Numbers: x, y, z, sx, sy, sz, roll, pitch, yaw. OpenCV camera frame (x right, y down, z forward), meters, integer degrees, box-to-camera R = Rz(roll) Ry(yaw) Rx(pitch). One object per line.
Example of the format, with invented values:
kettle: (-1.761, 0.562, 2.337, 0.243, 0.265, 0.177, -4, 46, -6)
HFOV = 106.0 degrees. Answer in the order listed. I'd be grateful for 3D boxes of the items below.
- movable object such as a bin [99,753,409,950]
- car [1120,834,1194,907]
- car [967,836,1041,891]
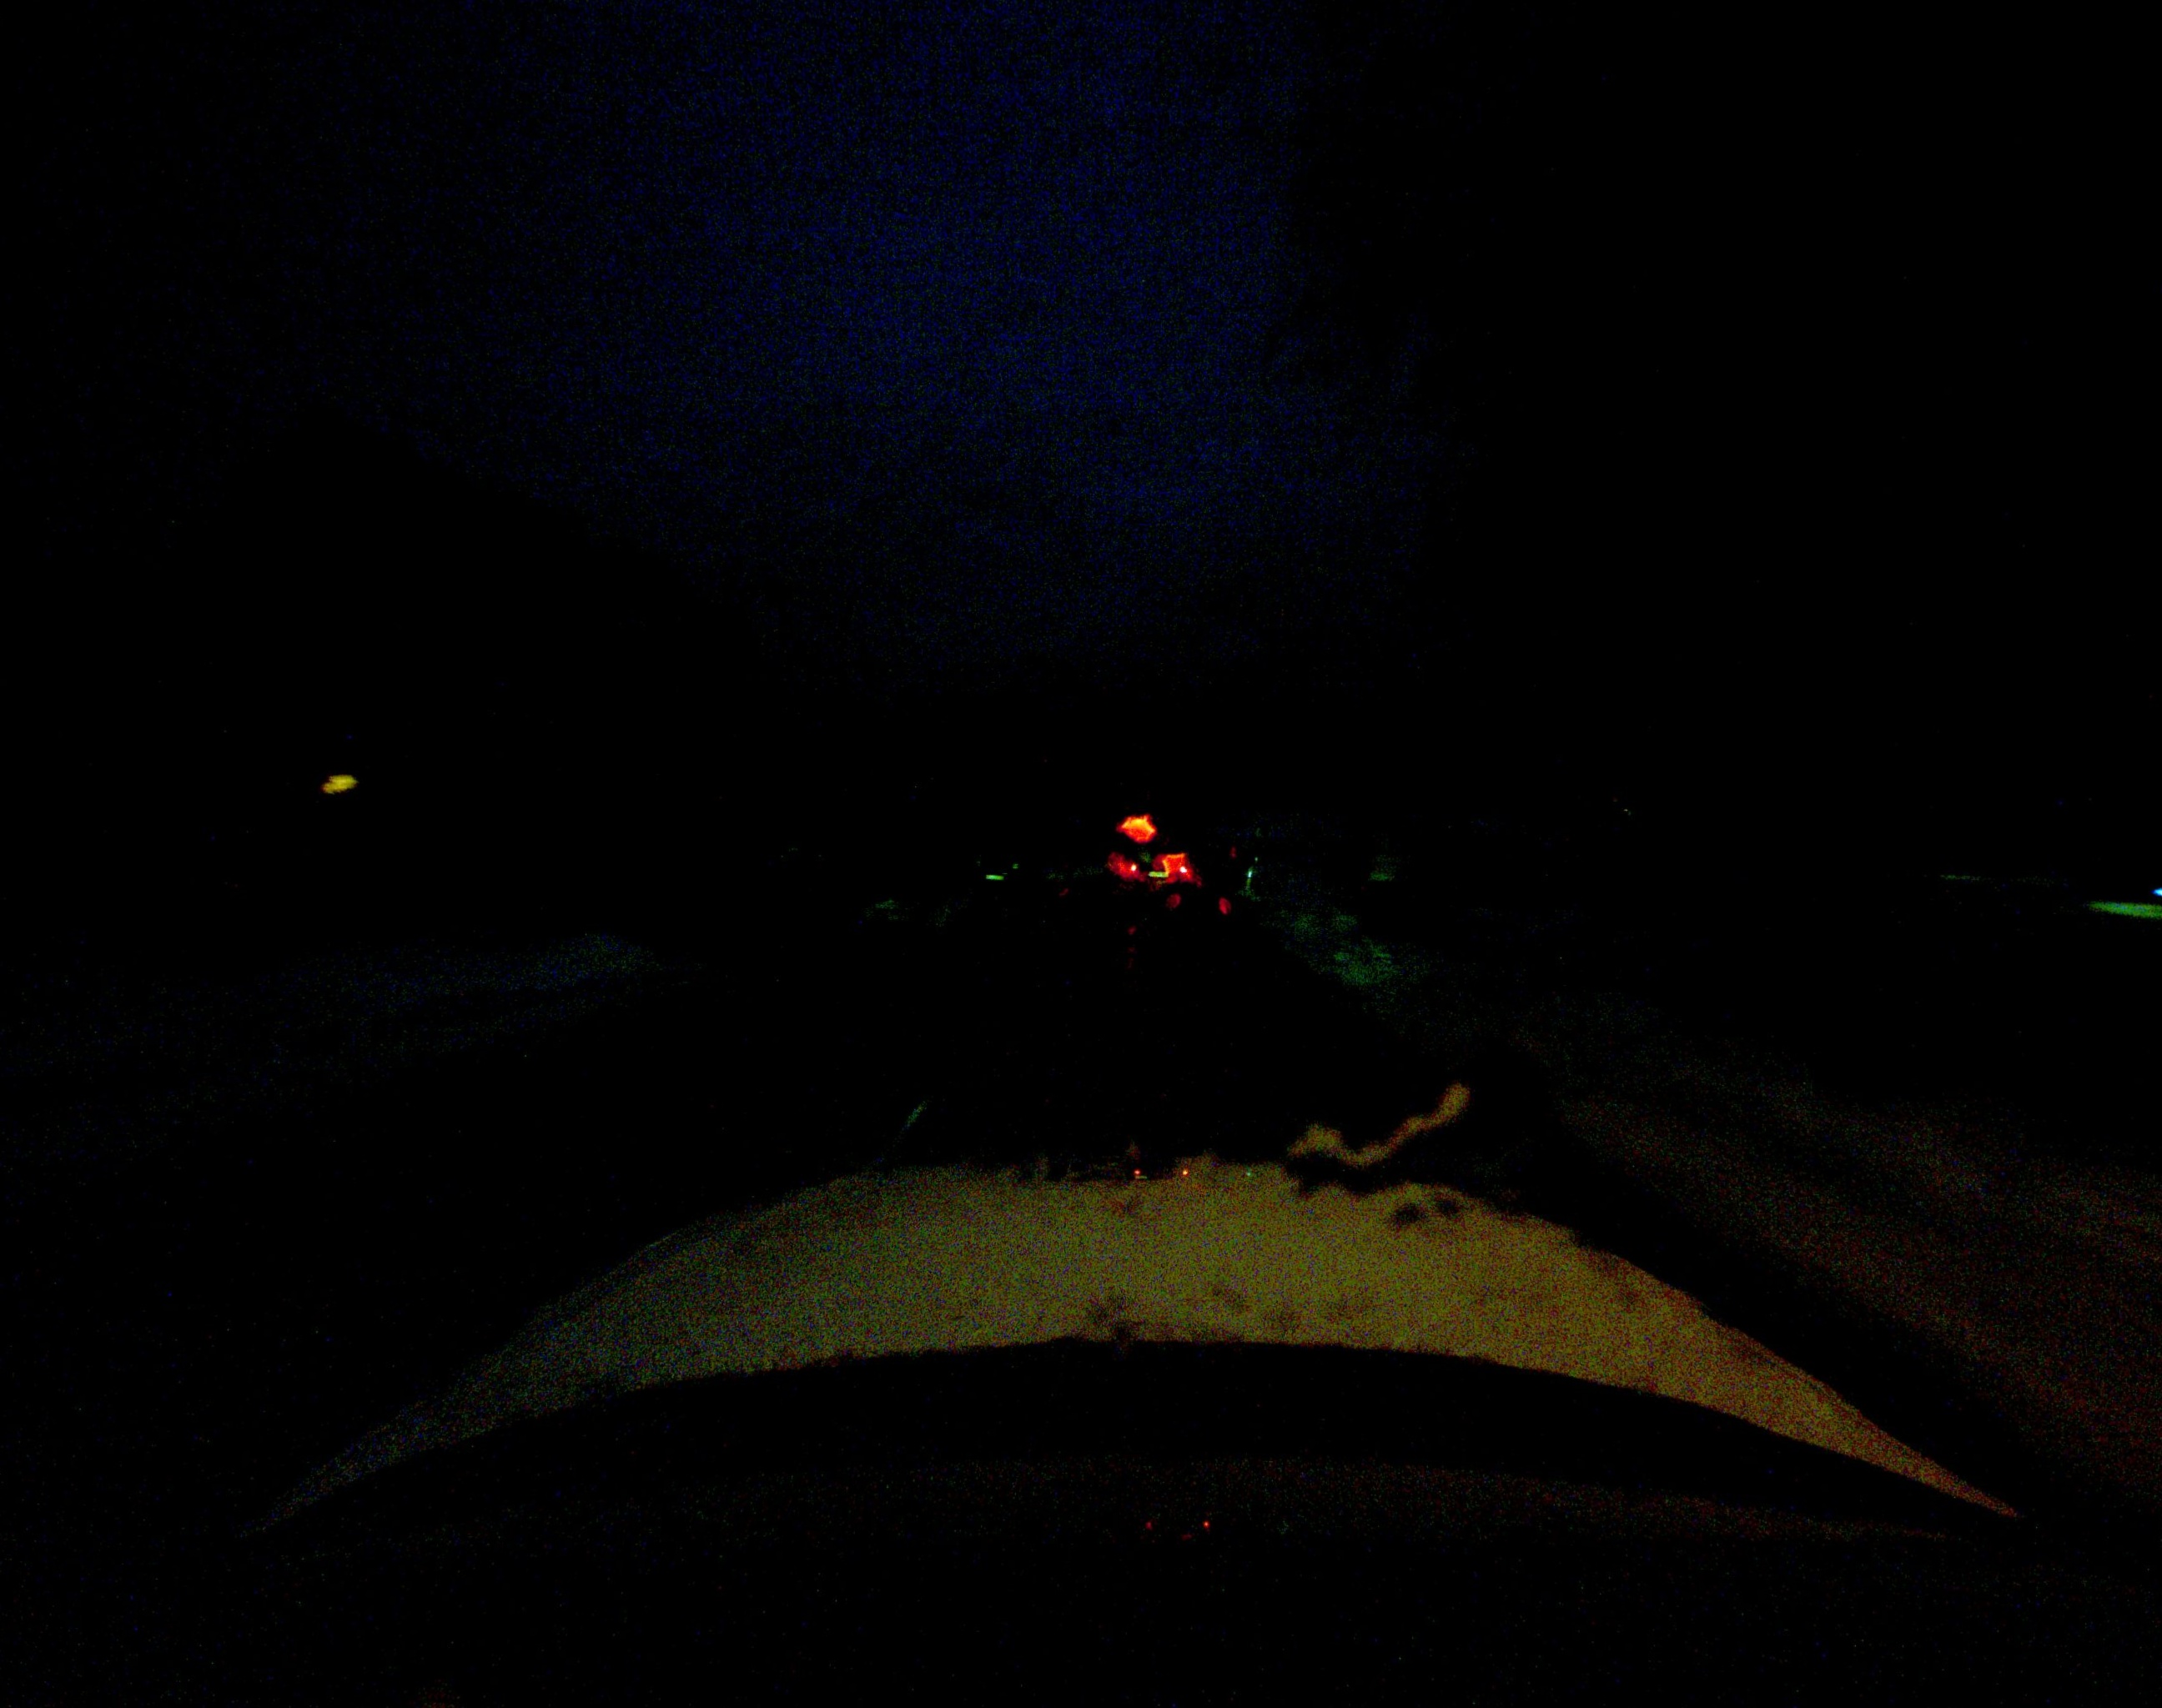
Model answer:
movable object such as a bin: (-8.367, -0.080, 8.265, 2.343, 1.648, 1.449, 5, 2, 25)
car: (2.027, 0.428, 22.617, 1.815, 1.796, 3.580, -2, 0, 2)
car: (-2.418, 0.256, 26.357, 1.710, 1.534, 3.524, 1, 3, 6)
